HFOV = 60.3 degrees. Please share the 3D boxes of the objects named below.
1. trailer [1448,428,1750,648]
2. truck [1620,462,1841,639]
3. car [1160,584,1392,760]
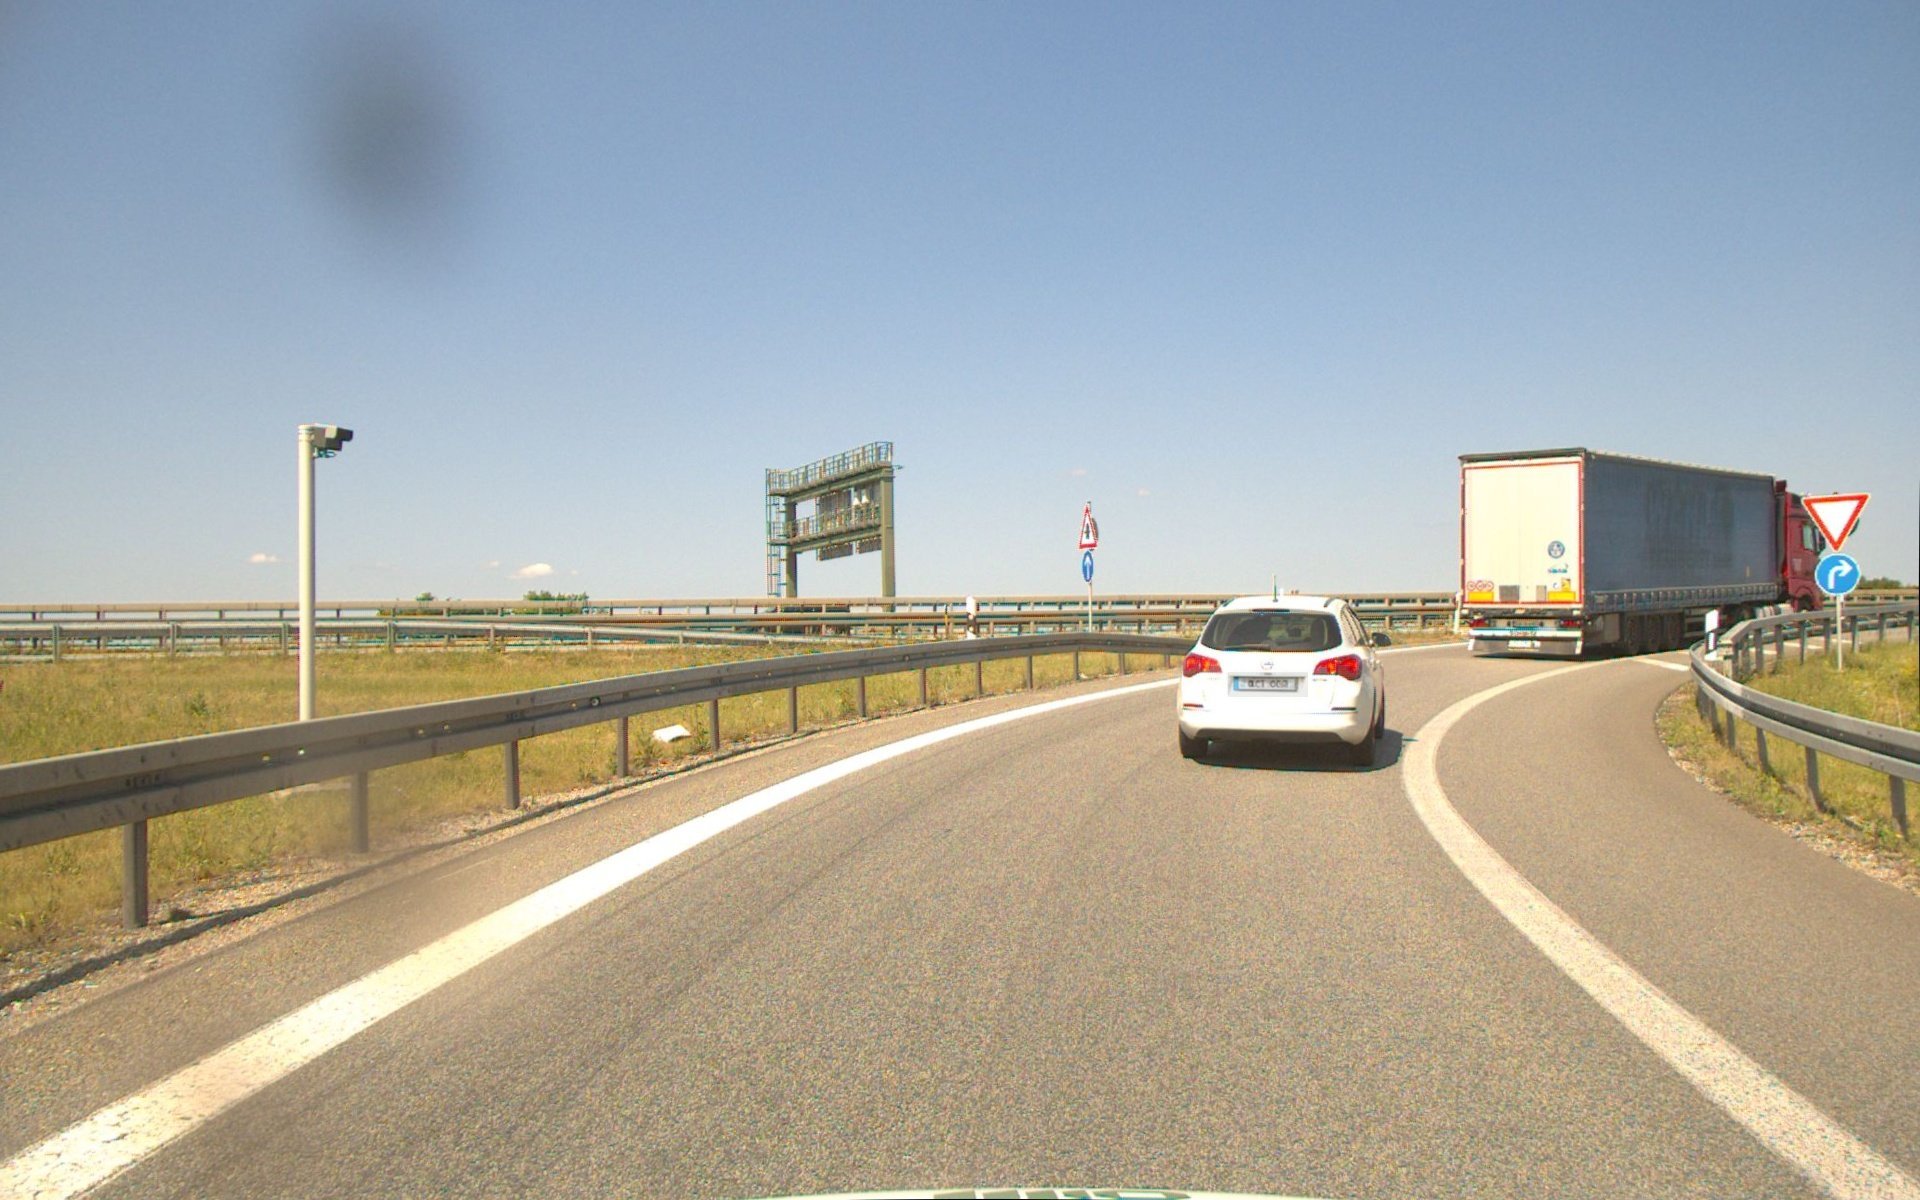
[{"bbox_3d":[14.570,-1.113,36.892,2.868,4.218,11.197,0,-1,40],"label":"trailer"},{"bbox_3d":[20.090,-1.141,42.935,6.870,4.218,2.876,1,-1,-43],"label":"truck"},{"bbox_3d":[3.225,0.616,16.196,1.815,1.468,4.374,0,0,16],"label":"car"}]
